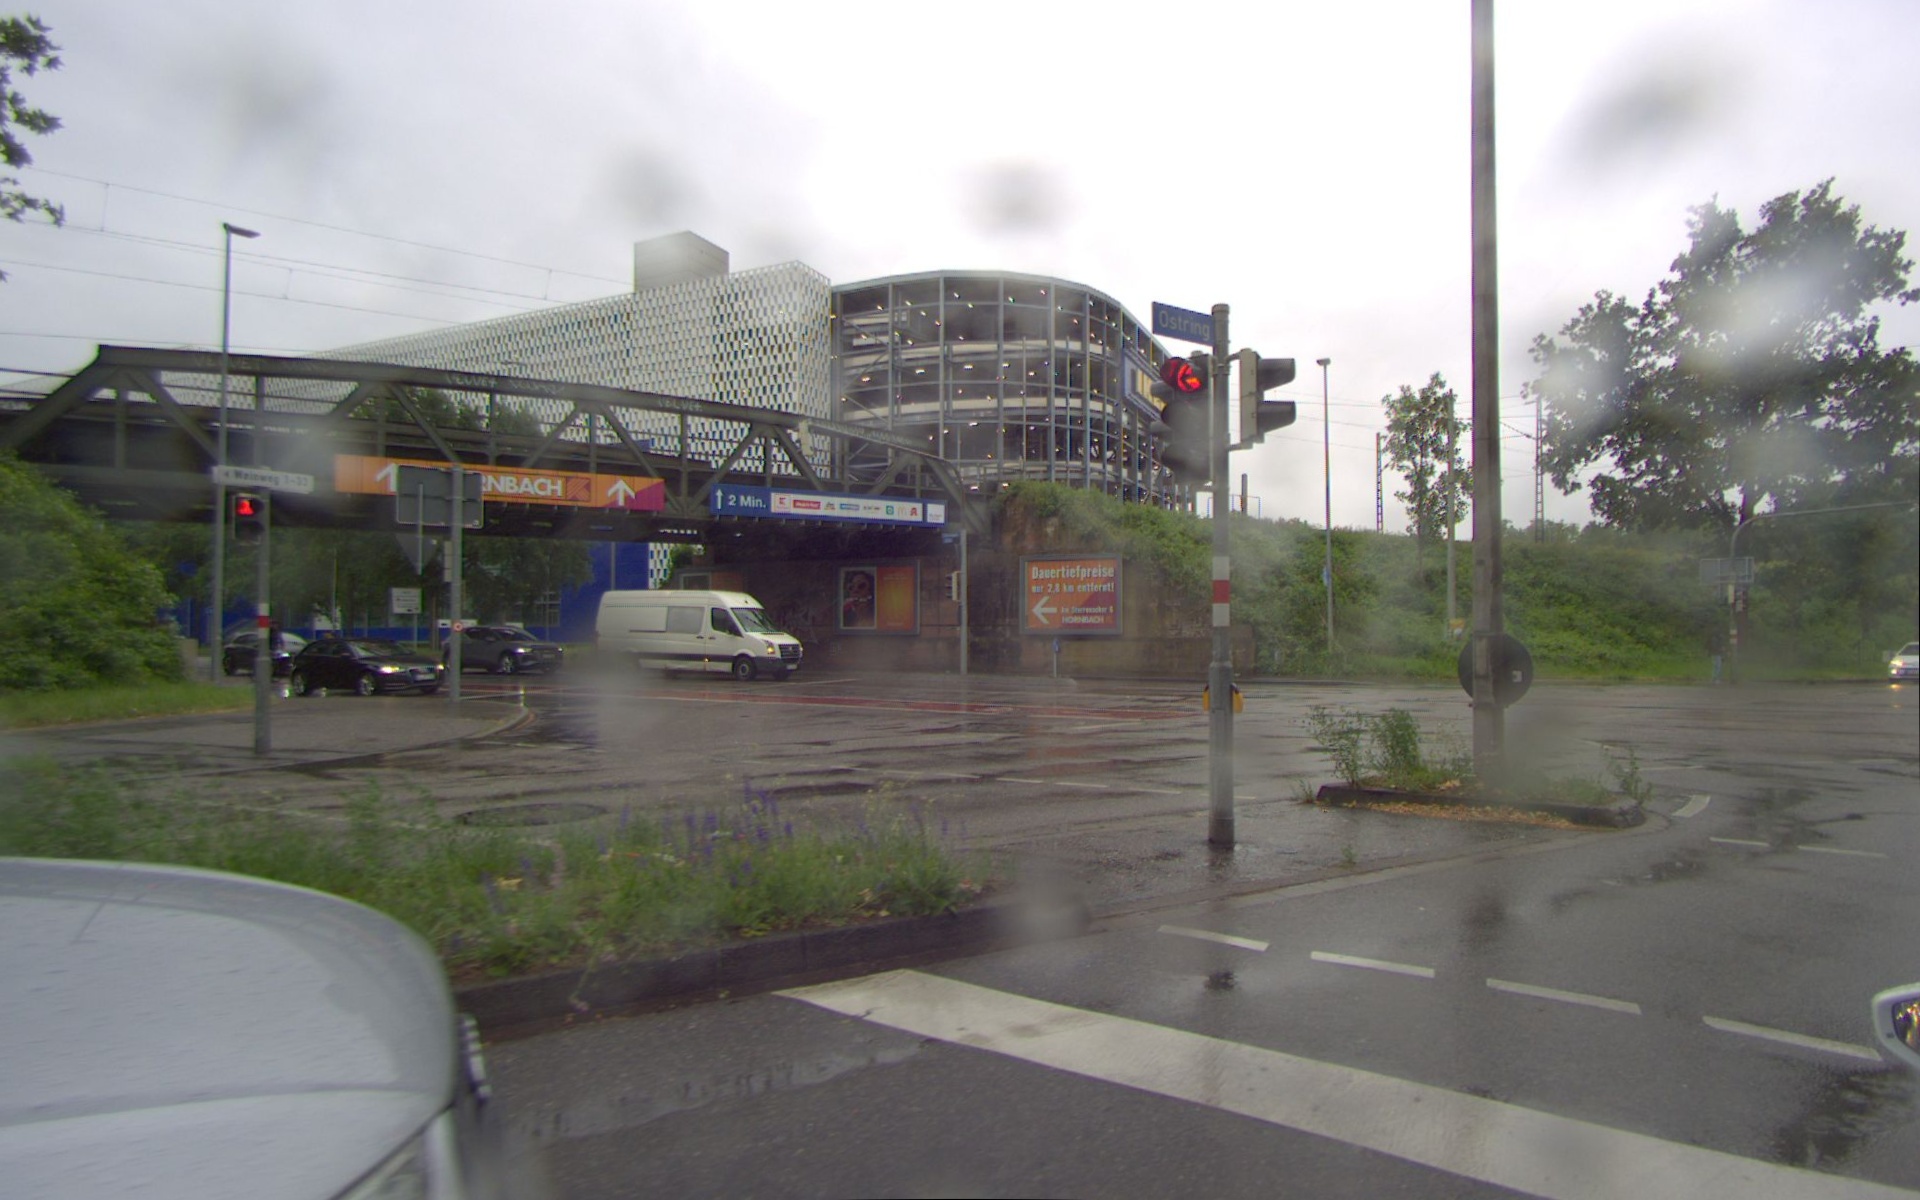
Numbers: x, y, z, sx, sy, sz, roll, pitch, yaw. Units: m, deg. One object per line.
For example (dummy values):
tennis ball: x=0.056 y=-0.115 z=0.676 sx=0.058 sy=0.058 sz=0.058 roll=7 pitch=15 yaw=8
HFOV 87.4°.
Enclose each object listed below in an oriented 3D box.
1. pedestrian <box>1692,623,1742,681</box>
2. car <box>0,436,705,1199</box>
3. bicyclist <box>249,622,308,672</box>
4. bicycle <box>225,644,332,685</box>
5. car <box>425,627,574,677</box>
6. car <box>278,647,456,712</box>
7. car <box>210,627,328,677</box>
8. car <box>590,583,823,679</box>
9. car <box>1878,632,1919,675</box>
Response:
pedestrian: x=24.988 y=1.704 z=33.159 sx=1.122 sy=1.871 sz=1.092 roll=2 pitch=-2 yaw=-41
car: x=-2.761 y=0.624 z=0.583 sx=4.766 sy=1.595 sz=1.760 roll=1 pitch=0 yaw=-31
bicyclist: x=-21.148 y=1.456 z=31.181 sx=1.037 sy=1.503 sz=1.151 roll=-1 pitch=-2 yaw=25
bicycle: x=-21.149 y=1.976 z=31.165 sx=3.385 sy=1.220 sz=1.199 roll=-1 pitch=-2 yaw=25
car: x=-15.752 y=1.732 z=34.332 sx=4.858 sy=1.621 sz=1.882 roll=-1 pitch=-2 yaw=24
car: x=-14.665 y=1.911 z=24.844 sx=4.067 sy=1.453 sz=1.693 roll=-1 pitch=-1 yaw=23
car: x=-23.935 y=1.766 z=34.779 sx=3.836 sy=1.621 sz=1.654 roll=-1 pitch=-2 yaw=25
car: x=-7.684 y=0.923 z=30.312 sx=6.847 sy=2.645 sz=2.386 roll=-1 pitch=-2 yaw=25
car: x=34.242 y=1.889 z=35.555 sx=3.746 sy=1.471 sz=1.629 roll=1 pitch=-2 yaw=-32
